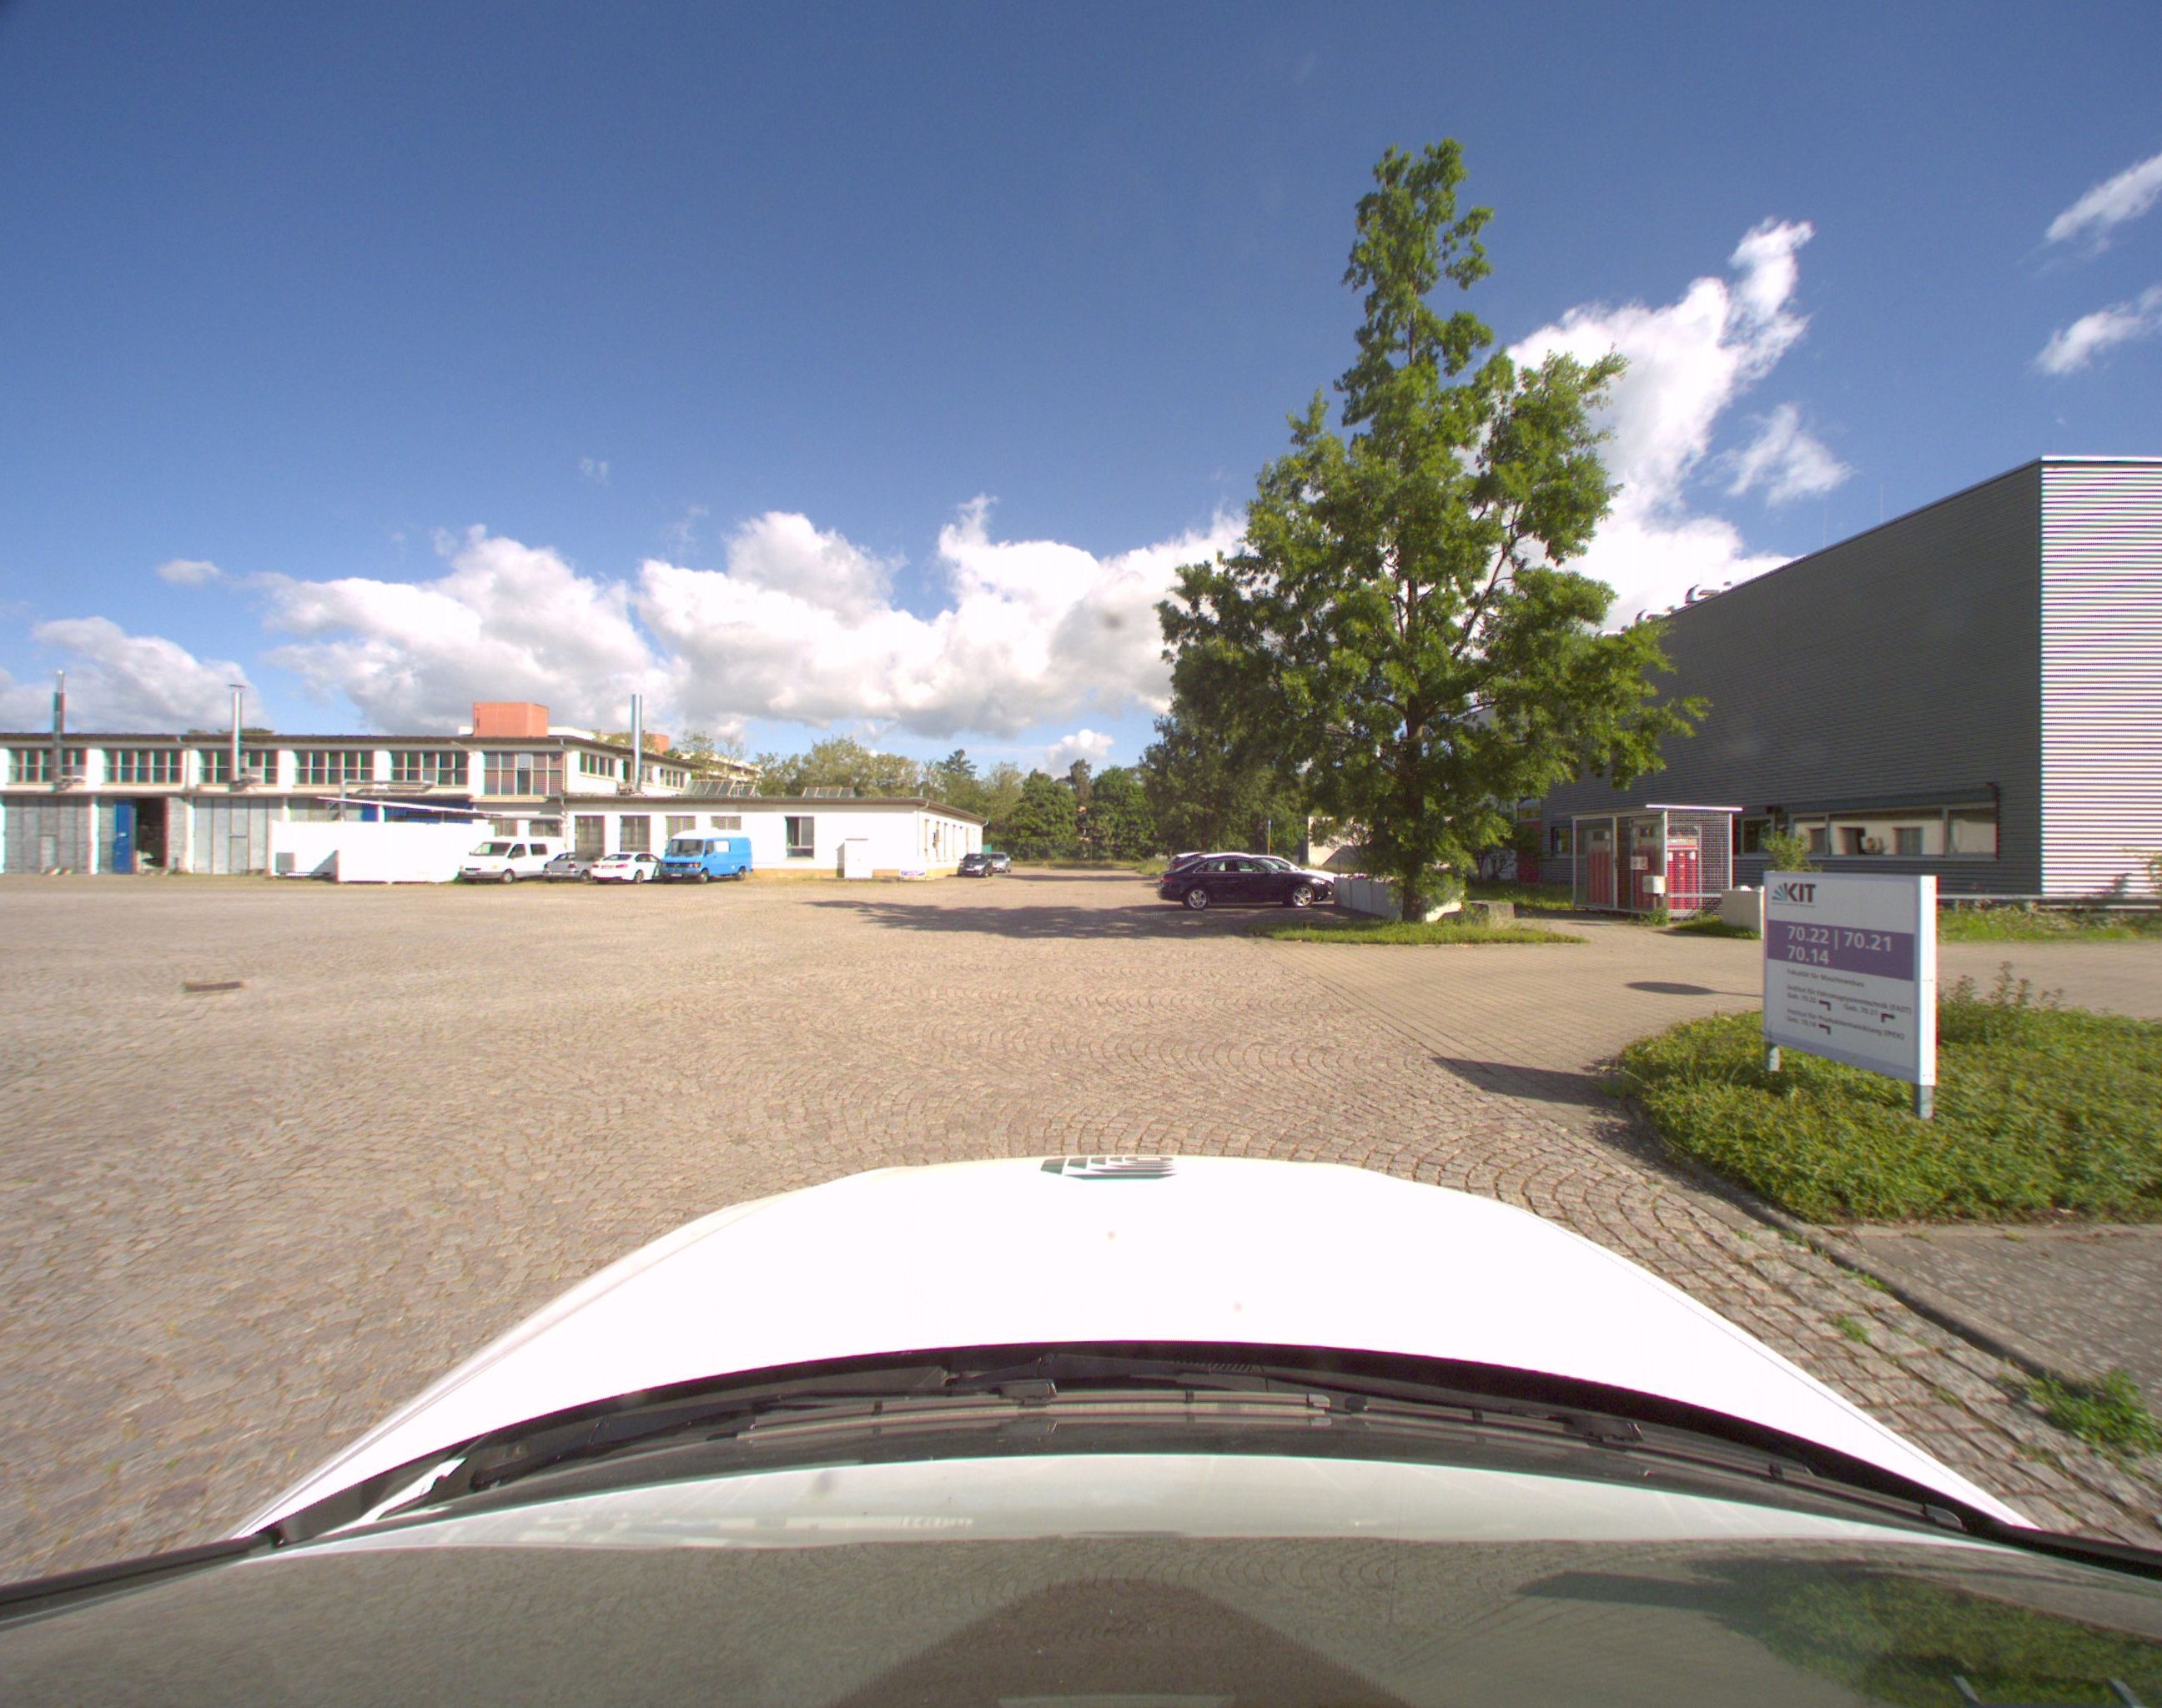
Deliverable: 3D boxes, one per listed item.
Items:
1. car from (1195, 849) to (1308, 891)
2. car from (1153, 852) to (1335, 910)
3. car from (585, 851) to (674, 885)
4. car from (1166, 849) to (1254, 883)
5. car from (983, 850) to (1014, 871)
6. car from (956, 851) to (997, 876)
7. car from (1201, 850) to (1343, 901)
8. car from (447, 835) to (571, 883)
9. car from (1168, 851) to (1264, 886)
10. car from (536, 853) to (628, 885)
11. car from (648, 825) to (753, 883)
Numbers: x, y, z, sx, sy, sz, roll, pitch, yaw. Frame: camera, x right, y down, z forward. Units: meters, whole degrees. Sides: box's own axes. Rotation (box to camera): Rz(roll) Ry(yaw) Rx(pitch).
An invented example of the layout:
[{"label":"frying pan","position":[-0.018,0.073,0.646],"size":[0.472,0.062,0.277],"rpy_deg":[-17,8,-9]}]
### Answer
[{"label":"car","position":[6.311,0.580,30.530],"size":[3.897,1.446,1.756],"rpy_deg":[-1,0,2]},{"label":"car","position":[4.438,0.720,22.610],"size":[4.703,1.423,1.757],"rpy_deg":[-1,0,0]},{"label":"car","position":[-20.284,0.601,36.755],"size":[1.724,1.405,3.743],"rpy_deg":[0,1,4]},{"label":"car","position":[5.992,0.552,38.188],"size":[3.897,1.435,1.797],"rpy_deg":[-1,0,2]},{"label":"car","position":[-5.943,0.475,59.351],"size":[1.680,1.435,3.989],"rpy_deg":[1,0,2]},{"label":"car","position":[-6.297,0.575,49.395],"size":[1.757,1.435,3.994],"rpy_deg":[1,0,2]},{"label":"car","position":[5.857,0.643,25.321],"size":[4.117,1.460,1.694],"rpy_deg":[-1,0,6]},{"label":"car","position":[-25.974,0.214,37.223],"size":[1.994,2.081,4.811],"rpy_deg":[0,0,4]},{"label":"car","position":[5.840,0.613,35.536],"size":[3.897,1.417,1.693],"rpy_deg":[-1,0,2]},{"label":"car","position":[-23.045,0.650,37.751],"size":[1.679,1.398,3.836],"rpy_deg":[1,0,4]},{"label":"car","position":[-17.521,0.003,37.861],"size":[2.073,2.483,5.245],"rpy_deg":[0,0,4]}]
